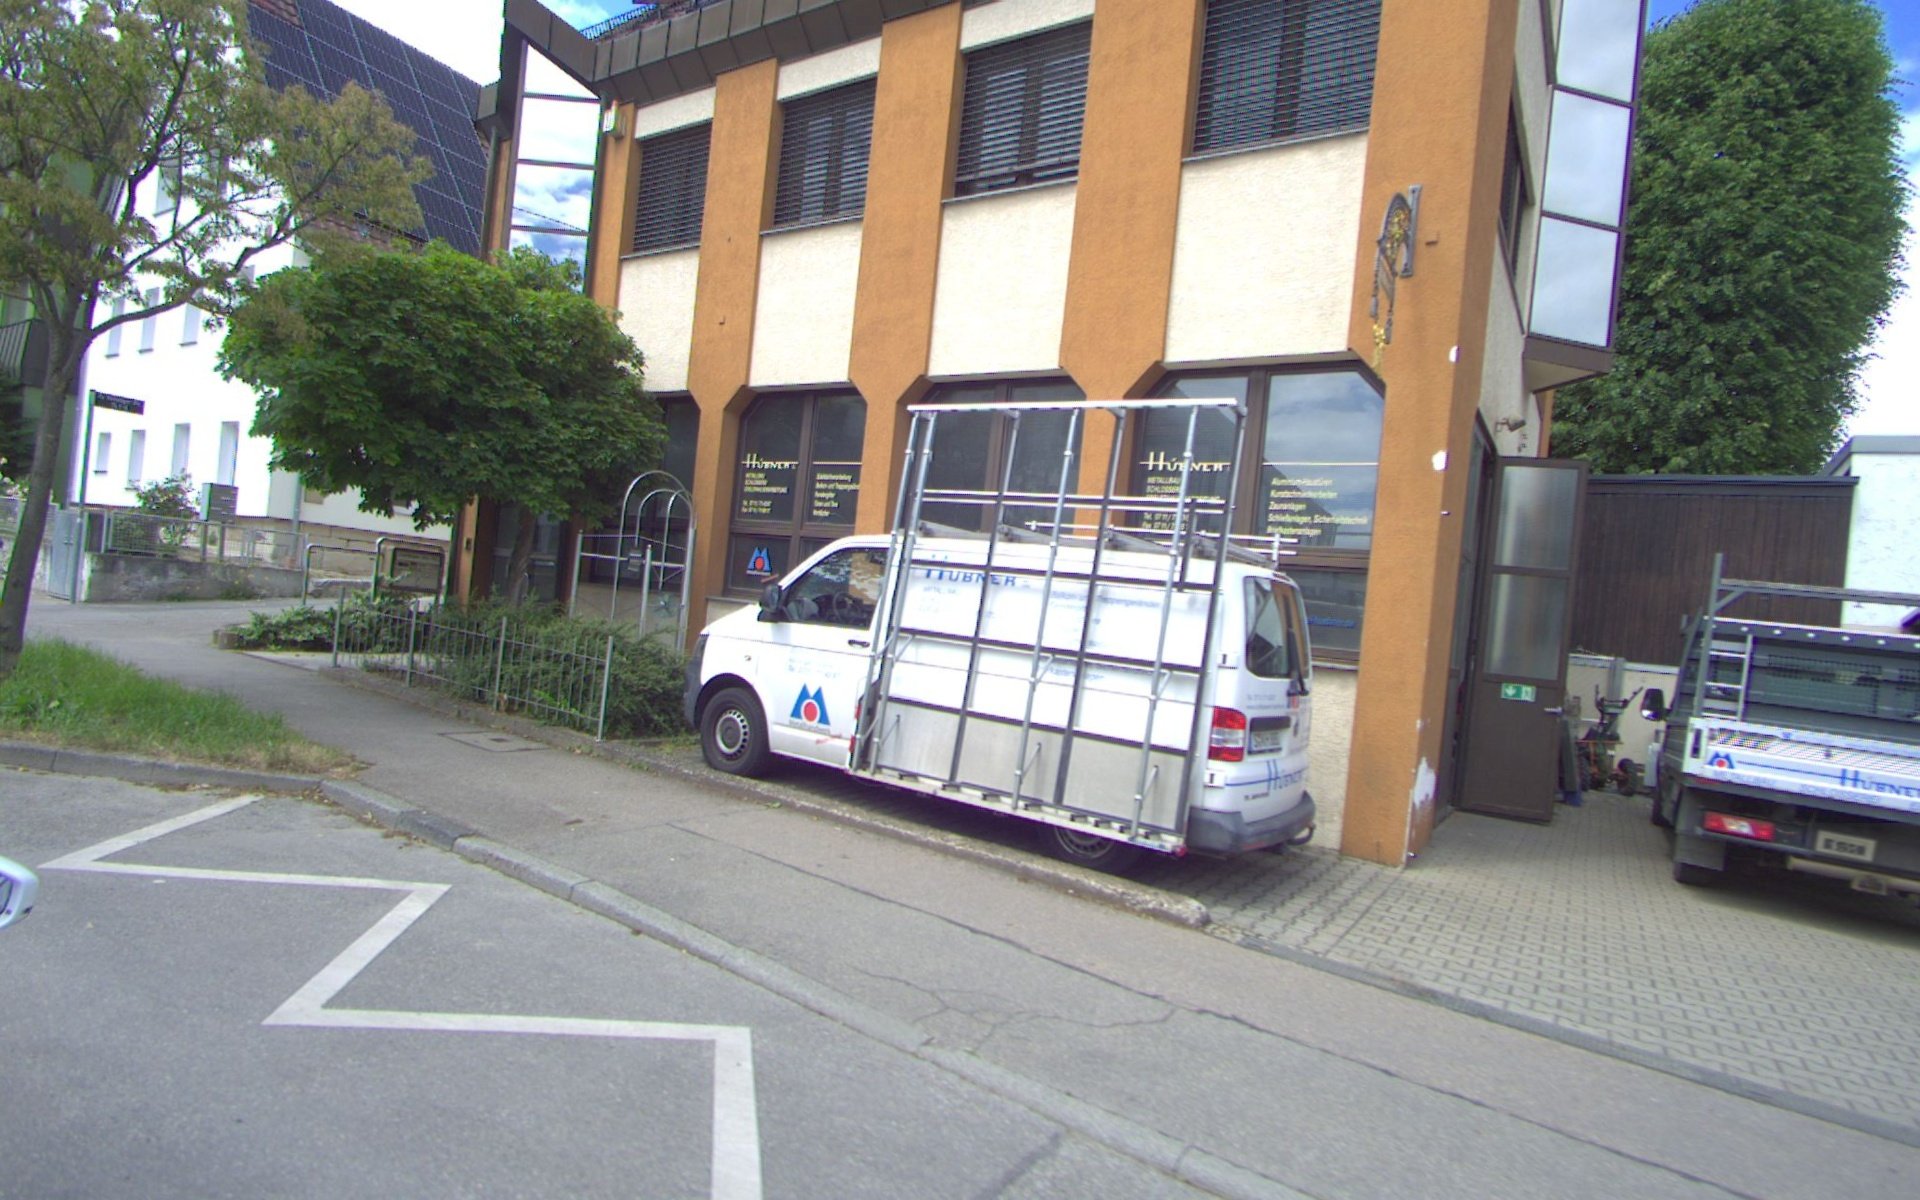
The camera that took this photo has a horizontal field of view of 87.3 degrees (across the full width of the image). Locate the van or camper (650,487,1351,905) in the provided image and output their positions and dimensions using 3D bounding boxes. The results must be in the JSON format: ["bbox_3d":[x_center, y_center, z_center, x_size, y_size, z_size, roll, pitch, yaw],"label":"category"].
[{"bbox_3d":[0.152,0.448,7.162,4.473,2.055,1.870,6,-2,32],"label":"van or camper"}]

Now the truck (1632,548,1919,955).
[{"bbox_3d":[7.426,1.224,8.678,2.319,2.487,5.093,8,0,33],"label":"truck"}]
